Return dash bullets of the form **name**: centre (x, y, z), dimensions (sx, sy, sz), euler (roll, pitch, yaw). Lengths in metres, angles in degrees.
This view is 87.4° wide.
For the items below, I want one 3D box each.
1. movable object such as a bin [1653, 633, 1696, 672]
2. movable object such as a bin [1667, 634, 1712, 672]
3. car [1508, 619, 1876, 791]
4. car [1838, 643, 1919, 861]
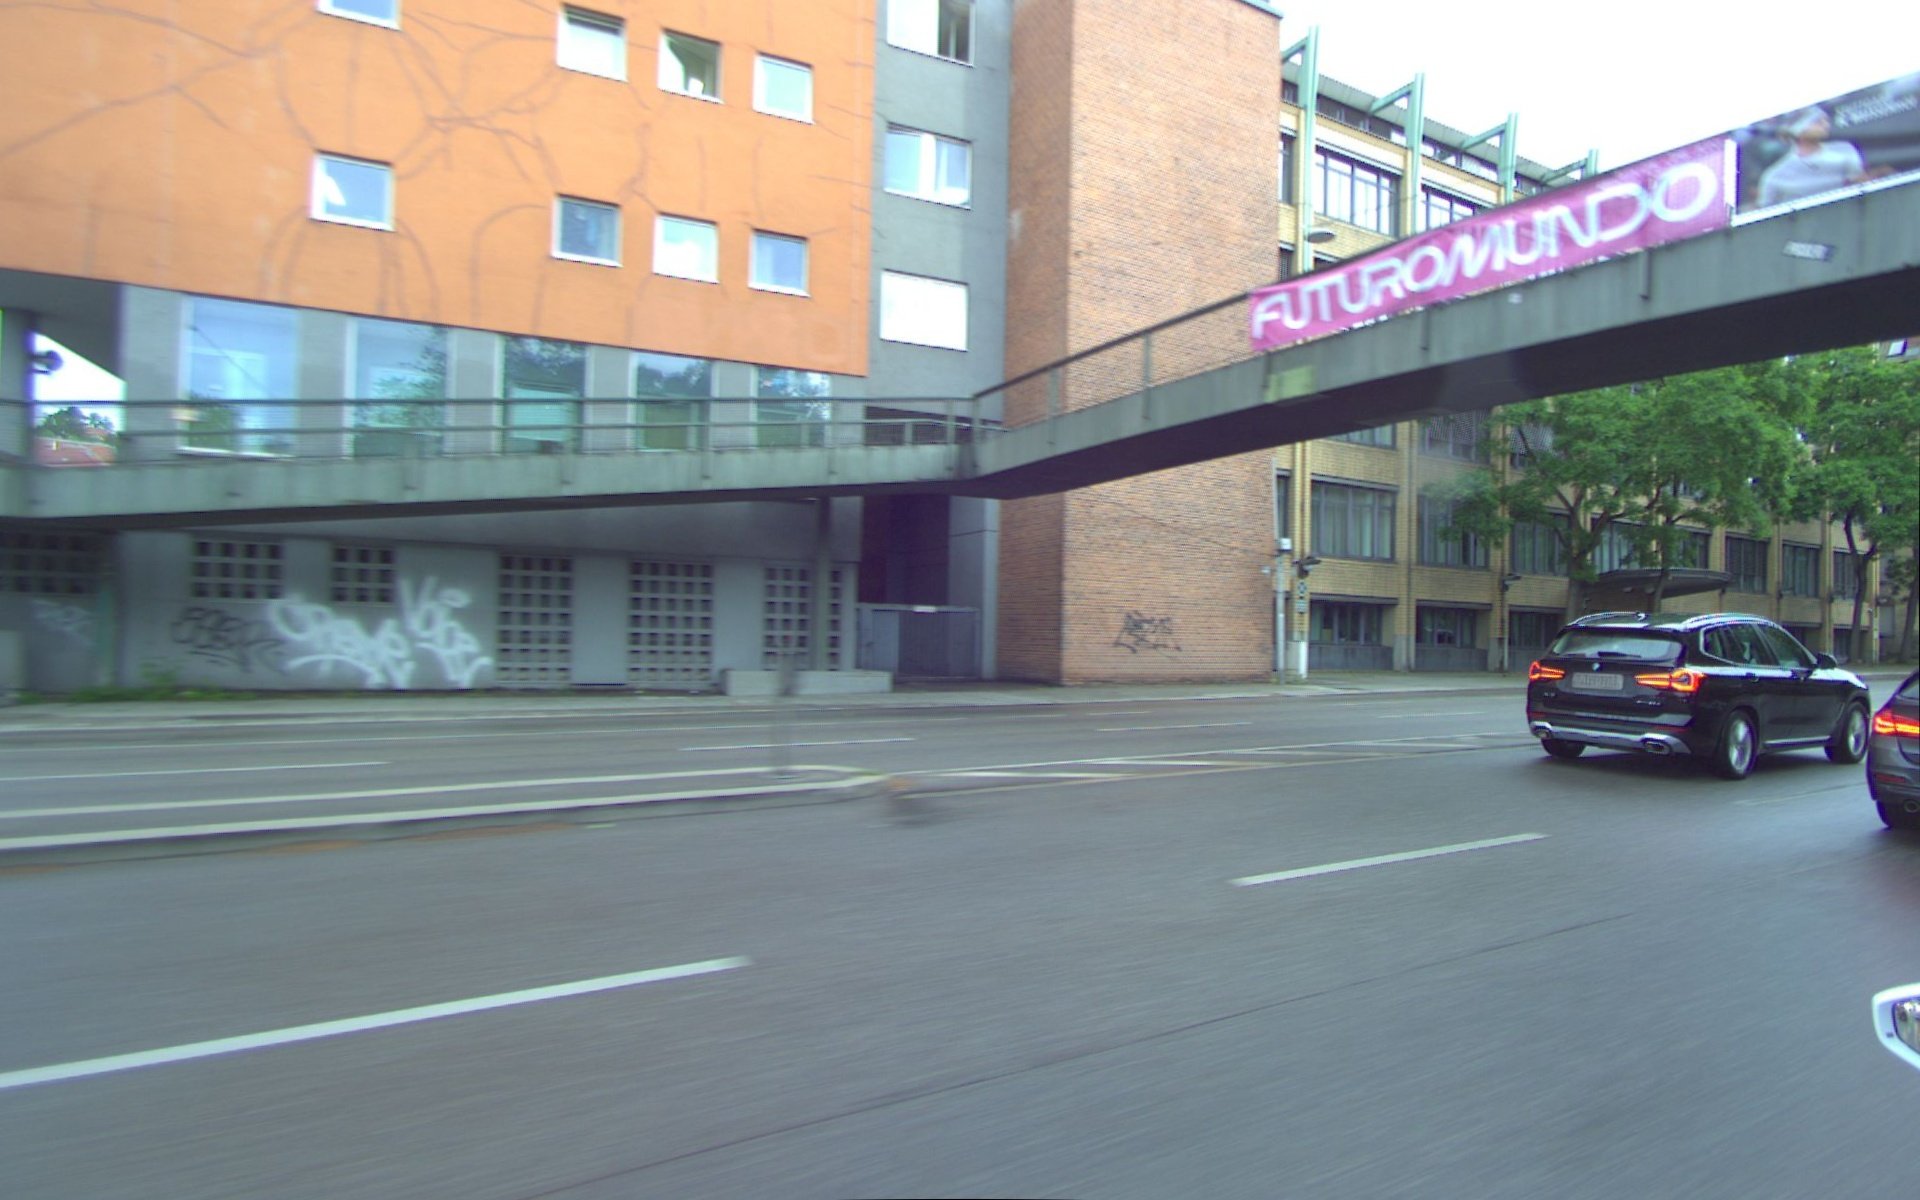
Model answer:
- **movable object such as a bin**: centre (28.124, 2.055, 39.525), dimensions (1.300, 1.455, 0.967), euler (1, 0, -34)
- **movable object such as a bin**: centre (29.241, 2.093, 40.266), dimensions (1.358, 1.455, 1.061), euler (1, 0, -34)
- **car**: centre (8.309, 1.060, 11.317), dimensions (4.360, 1.607, 1.749), euler (2, -1, -30)
- **car**: centre (8.583, 1.097, 7.489), dimensions (4.360, 1.451, 1.749), euler (2, 0, -30)
